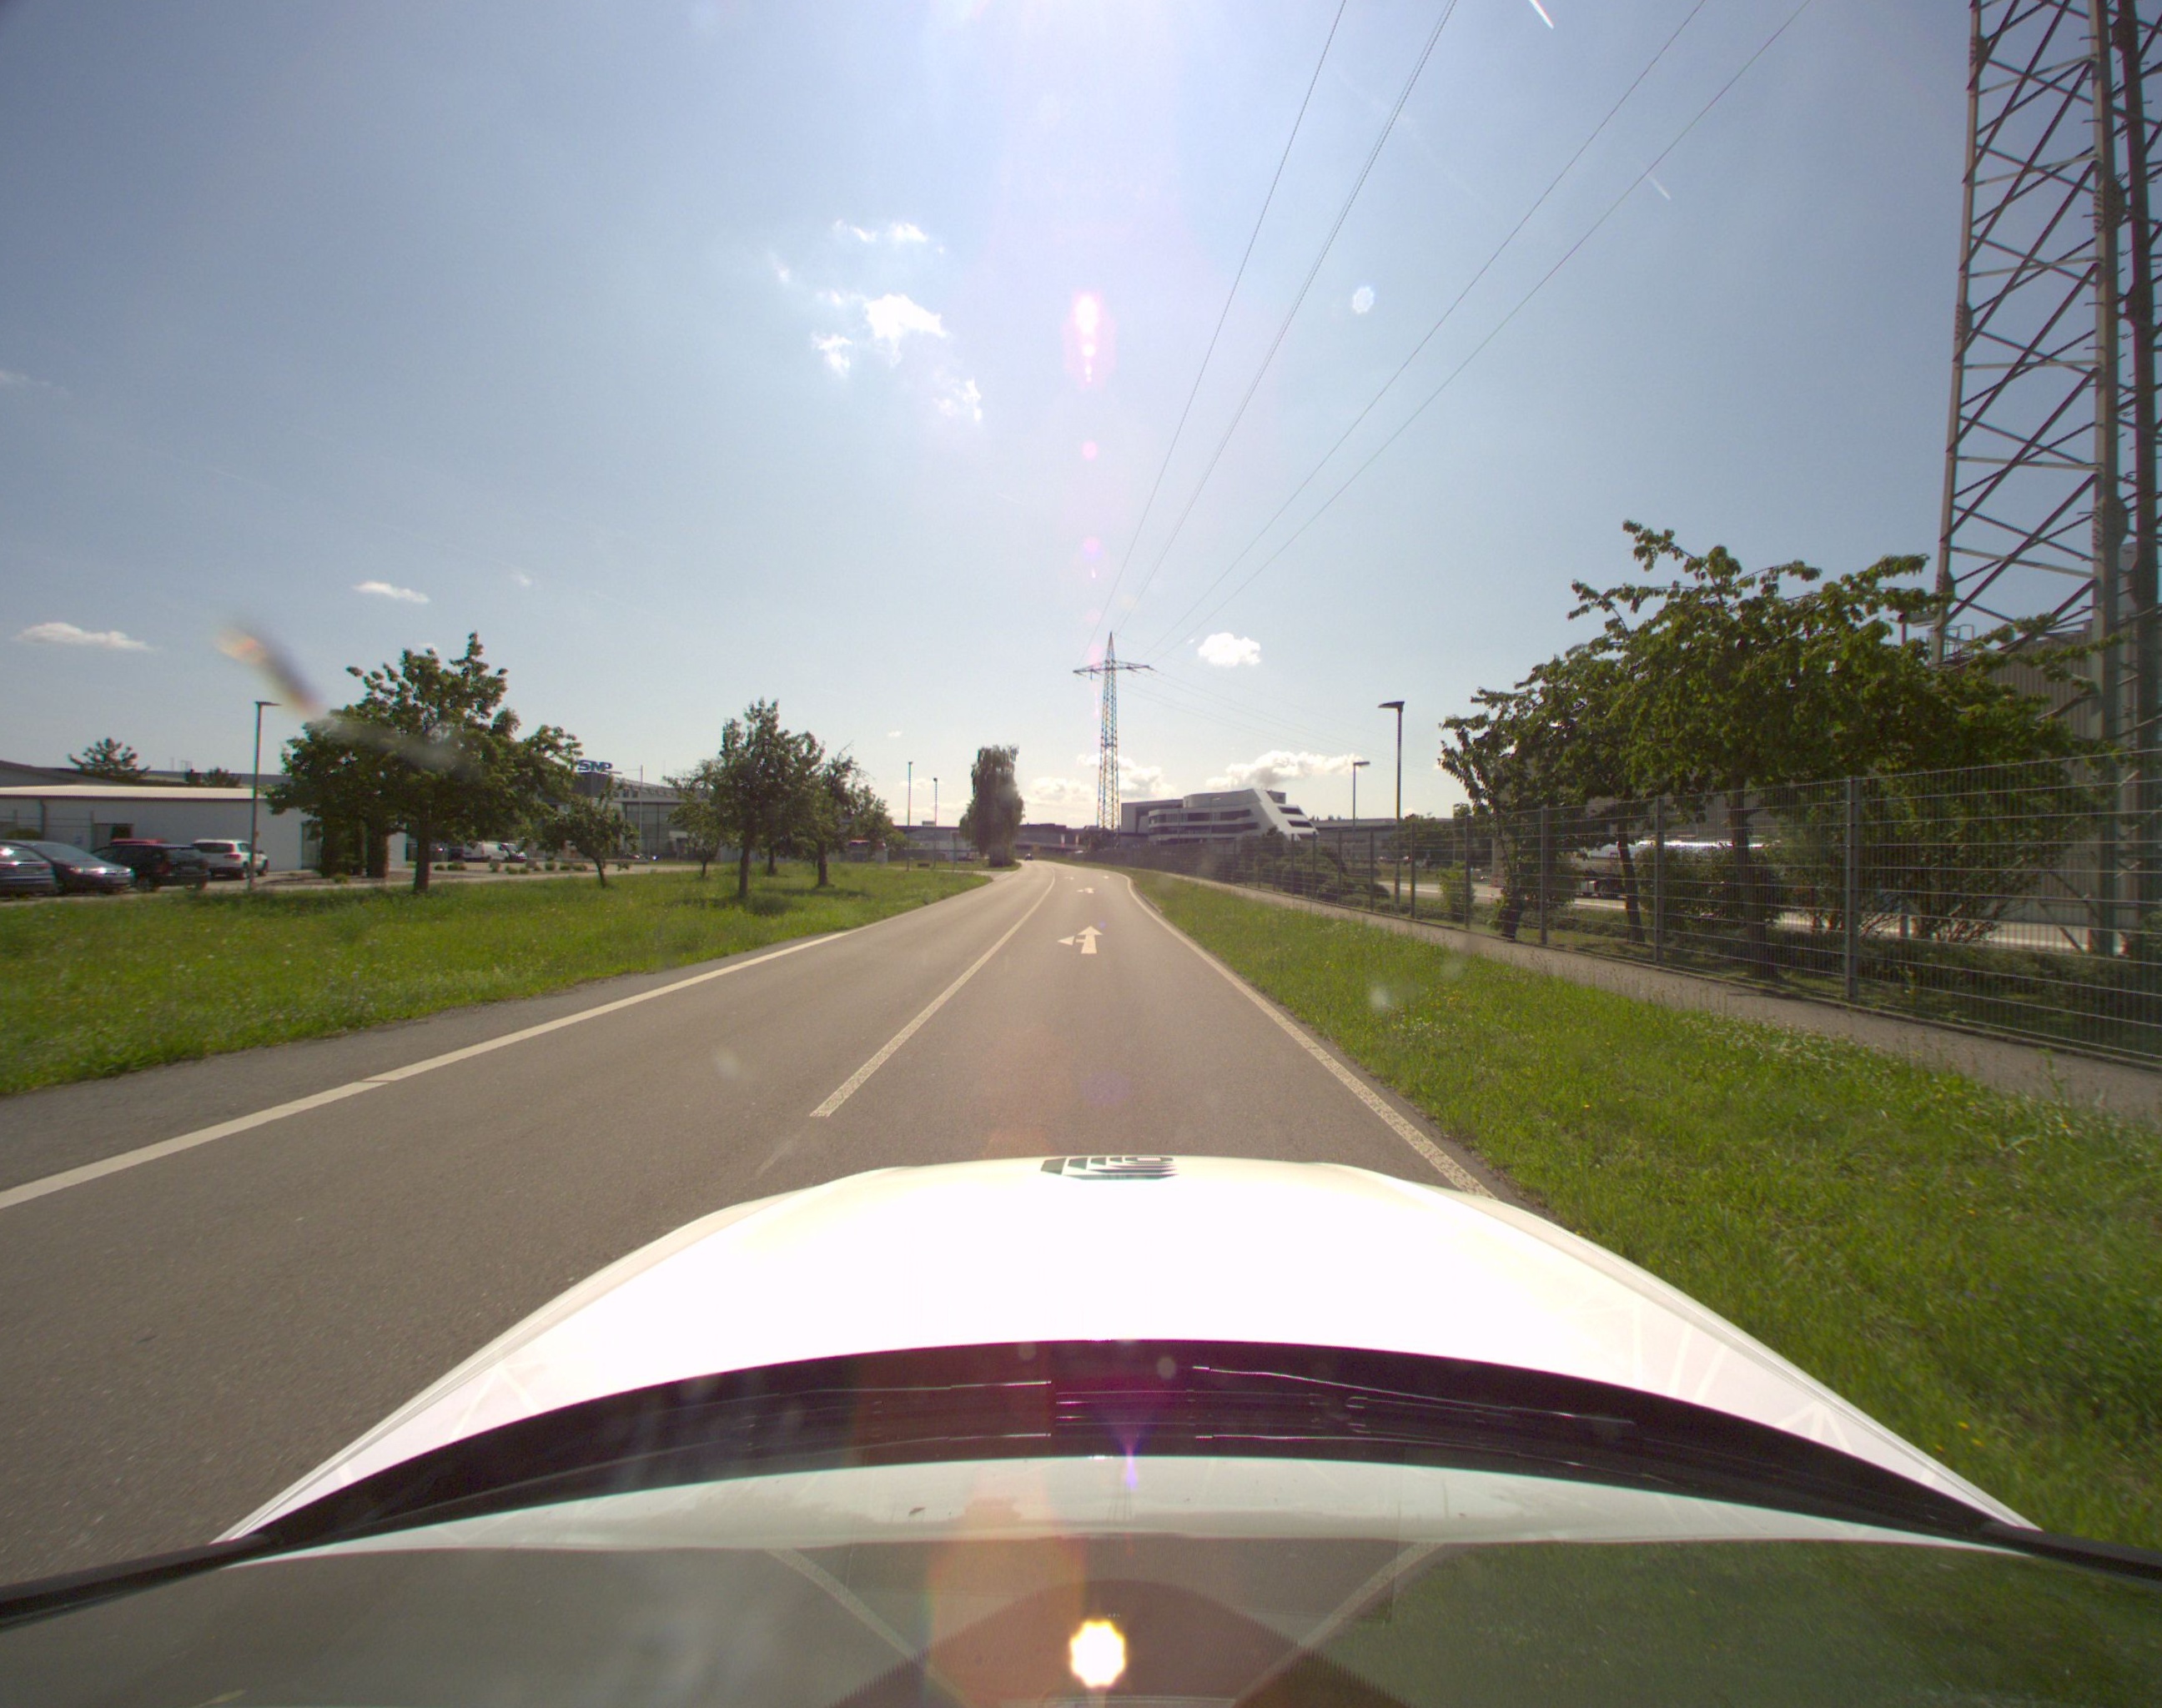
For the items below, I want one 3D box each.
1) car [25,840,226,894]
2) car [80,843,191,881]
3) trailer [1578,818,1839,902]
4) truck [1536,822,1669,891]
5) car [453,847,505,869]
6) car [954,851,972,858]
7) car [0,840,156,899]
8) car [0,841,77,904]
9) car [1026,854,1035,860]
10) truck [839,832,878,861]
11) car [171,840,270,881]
[{"bbox_3d":[-31.211,0.420,26.724,3.980,1.640,1.997,1,0,-5],"label":"car"},{"bbox_3d":[-40.084,0.320,34.650,2.008,1.528,4.126,1,0,-34],"label":"car"},{"bbox_3d":[32.045,0.247,42.808,3.585,3.735,12.216,0,0,-5],"label":"trailer"},{"bbox_3d":[31.486,0.140,49.544,3.591,3.867,6.392,-1,0,-7],"label":"truck"},{"bbox_3d":[-57.741,0.373,78.269,1.993,2.013,4.727,1,0,-9],"label":"car"},{"bbox_3d":[-25.905,0.092,178.899,3.982,1.574,1.996,1,0,-6],"label":"car"},{"bbox_3d":[-30.670,0.437,24.194,3.980,1.640,1.855,1,0,-5],"label":"car"},{"bbox_3d":[-29.981,0.446,21.588,3.980,1.640,1.997,1,0,-5],"label":"car"},{"bbox_3d":[-12.399,0.726,199.945,2.006,1.508,3.998,1,0,-1],"label":"car"},{"bbox_3d":[-28.885,-0.964,106.119,2.747,3.558,10.253,1,0,-4],"label":"truck"},{"bbox_3d":[-36.716,0.273,34.866,2.008,1.640,4.126,1,0,-34],"label":"car"}]
